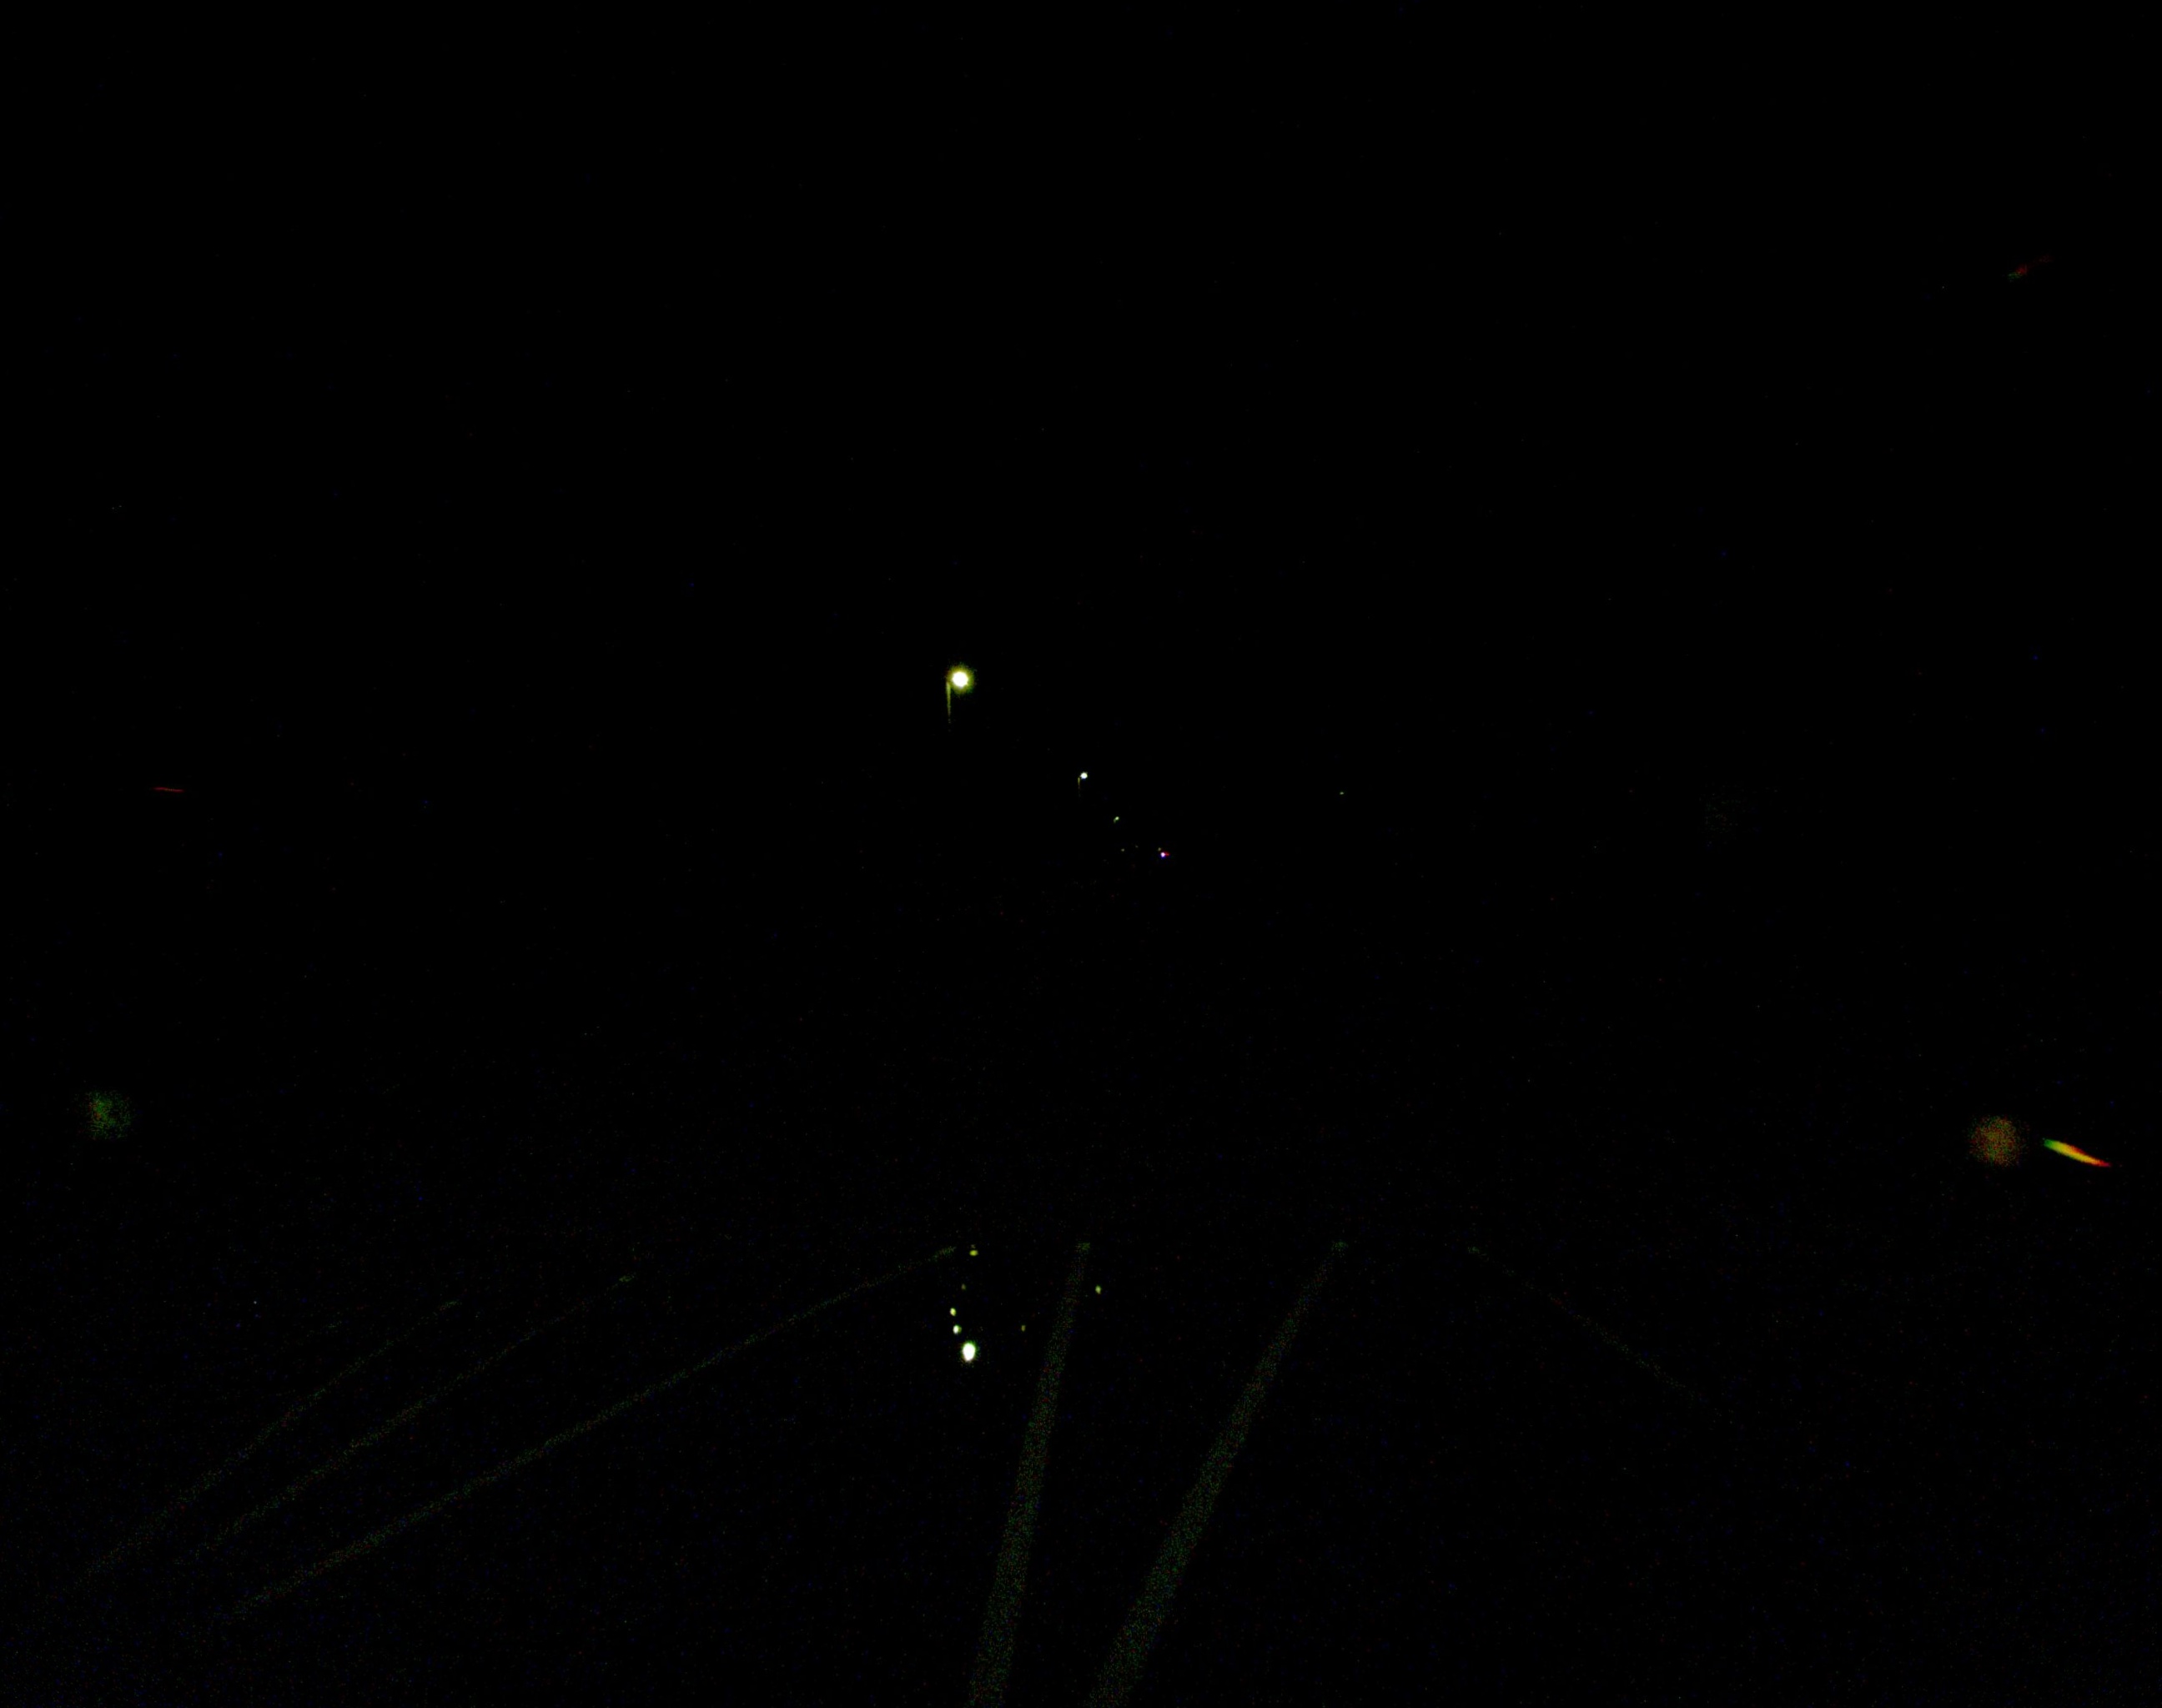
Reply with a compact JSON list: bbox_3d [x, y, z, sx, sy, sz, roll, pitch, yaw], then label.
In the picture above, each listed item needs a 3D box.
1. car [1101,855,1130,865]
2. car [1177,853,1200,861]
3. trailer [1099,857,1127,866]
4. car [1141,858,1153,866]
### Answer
[{"bbox_3d":[4.320,0.787,95.603,3.401,1.224,1.724,1,-1,-4],"label":"car"},{"bbox_3d":[22.137,0.569,156.132,4.326,1.552,2.028,-1,-1,-9],"label":"car"},{"bbox_3d":[4.189,0.960,99.839,3.441,0.996,1.954,-4,0,-2],"label":"trailer"},{"bbox_3d":[13.133,1.596,152.094,1.754,1.460,4.008,-1,-1,-3],"label":"car"}]
